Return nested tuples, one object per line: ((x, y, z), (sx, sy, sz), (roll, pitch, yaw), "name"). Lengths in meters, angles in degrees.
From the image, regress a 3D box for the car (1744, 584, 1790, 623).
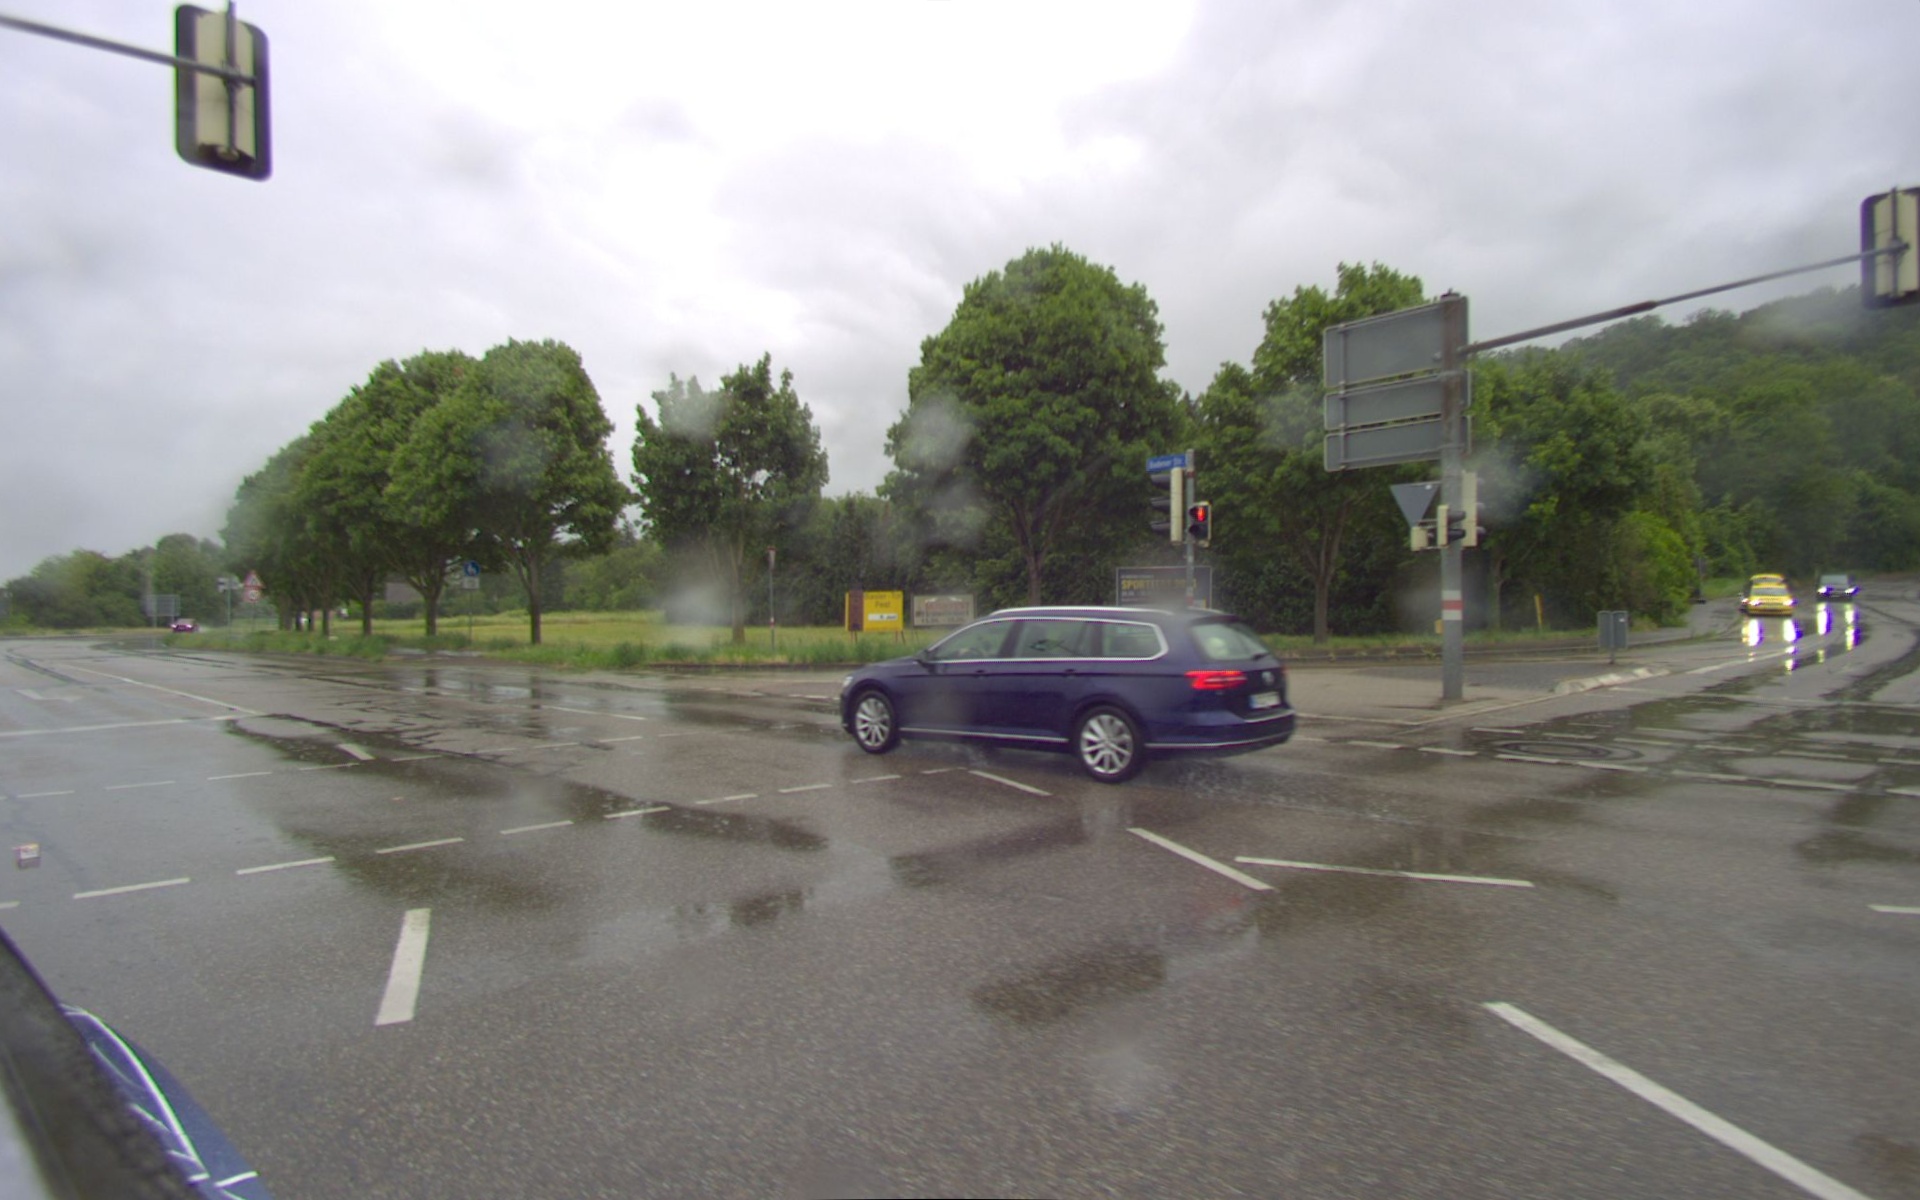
((43.907, 0.185, 55.022), (1.813, 2.029, 3.633), (-1, -1, 40), "car")

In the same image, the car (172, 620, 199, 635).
((-91.661, 3.271, 119.847), (1.884, 1.701, 4.116), (0, 0, -28), "car")

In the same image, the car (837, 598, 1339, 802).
((0.996, 0.750, 9.432), (4.449, 1.477, 1.691), (-1, 0, 40), "car")

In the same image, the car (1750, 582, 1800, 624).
((41.461, 0.145, 51.457), (1.813, 2.042, 3.633), (-1, -1, 41), "car")

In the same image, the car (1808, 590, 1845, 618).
((59.073, 0.293, 68.990), (1.831, 1.829, 3.945), (-1, -1, 41), "car")
